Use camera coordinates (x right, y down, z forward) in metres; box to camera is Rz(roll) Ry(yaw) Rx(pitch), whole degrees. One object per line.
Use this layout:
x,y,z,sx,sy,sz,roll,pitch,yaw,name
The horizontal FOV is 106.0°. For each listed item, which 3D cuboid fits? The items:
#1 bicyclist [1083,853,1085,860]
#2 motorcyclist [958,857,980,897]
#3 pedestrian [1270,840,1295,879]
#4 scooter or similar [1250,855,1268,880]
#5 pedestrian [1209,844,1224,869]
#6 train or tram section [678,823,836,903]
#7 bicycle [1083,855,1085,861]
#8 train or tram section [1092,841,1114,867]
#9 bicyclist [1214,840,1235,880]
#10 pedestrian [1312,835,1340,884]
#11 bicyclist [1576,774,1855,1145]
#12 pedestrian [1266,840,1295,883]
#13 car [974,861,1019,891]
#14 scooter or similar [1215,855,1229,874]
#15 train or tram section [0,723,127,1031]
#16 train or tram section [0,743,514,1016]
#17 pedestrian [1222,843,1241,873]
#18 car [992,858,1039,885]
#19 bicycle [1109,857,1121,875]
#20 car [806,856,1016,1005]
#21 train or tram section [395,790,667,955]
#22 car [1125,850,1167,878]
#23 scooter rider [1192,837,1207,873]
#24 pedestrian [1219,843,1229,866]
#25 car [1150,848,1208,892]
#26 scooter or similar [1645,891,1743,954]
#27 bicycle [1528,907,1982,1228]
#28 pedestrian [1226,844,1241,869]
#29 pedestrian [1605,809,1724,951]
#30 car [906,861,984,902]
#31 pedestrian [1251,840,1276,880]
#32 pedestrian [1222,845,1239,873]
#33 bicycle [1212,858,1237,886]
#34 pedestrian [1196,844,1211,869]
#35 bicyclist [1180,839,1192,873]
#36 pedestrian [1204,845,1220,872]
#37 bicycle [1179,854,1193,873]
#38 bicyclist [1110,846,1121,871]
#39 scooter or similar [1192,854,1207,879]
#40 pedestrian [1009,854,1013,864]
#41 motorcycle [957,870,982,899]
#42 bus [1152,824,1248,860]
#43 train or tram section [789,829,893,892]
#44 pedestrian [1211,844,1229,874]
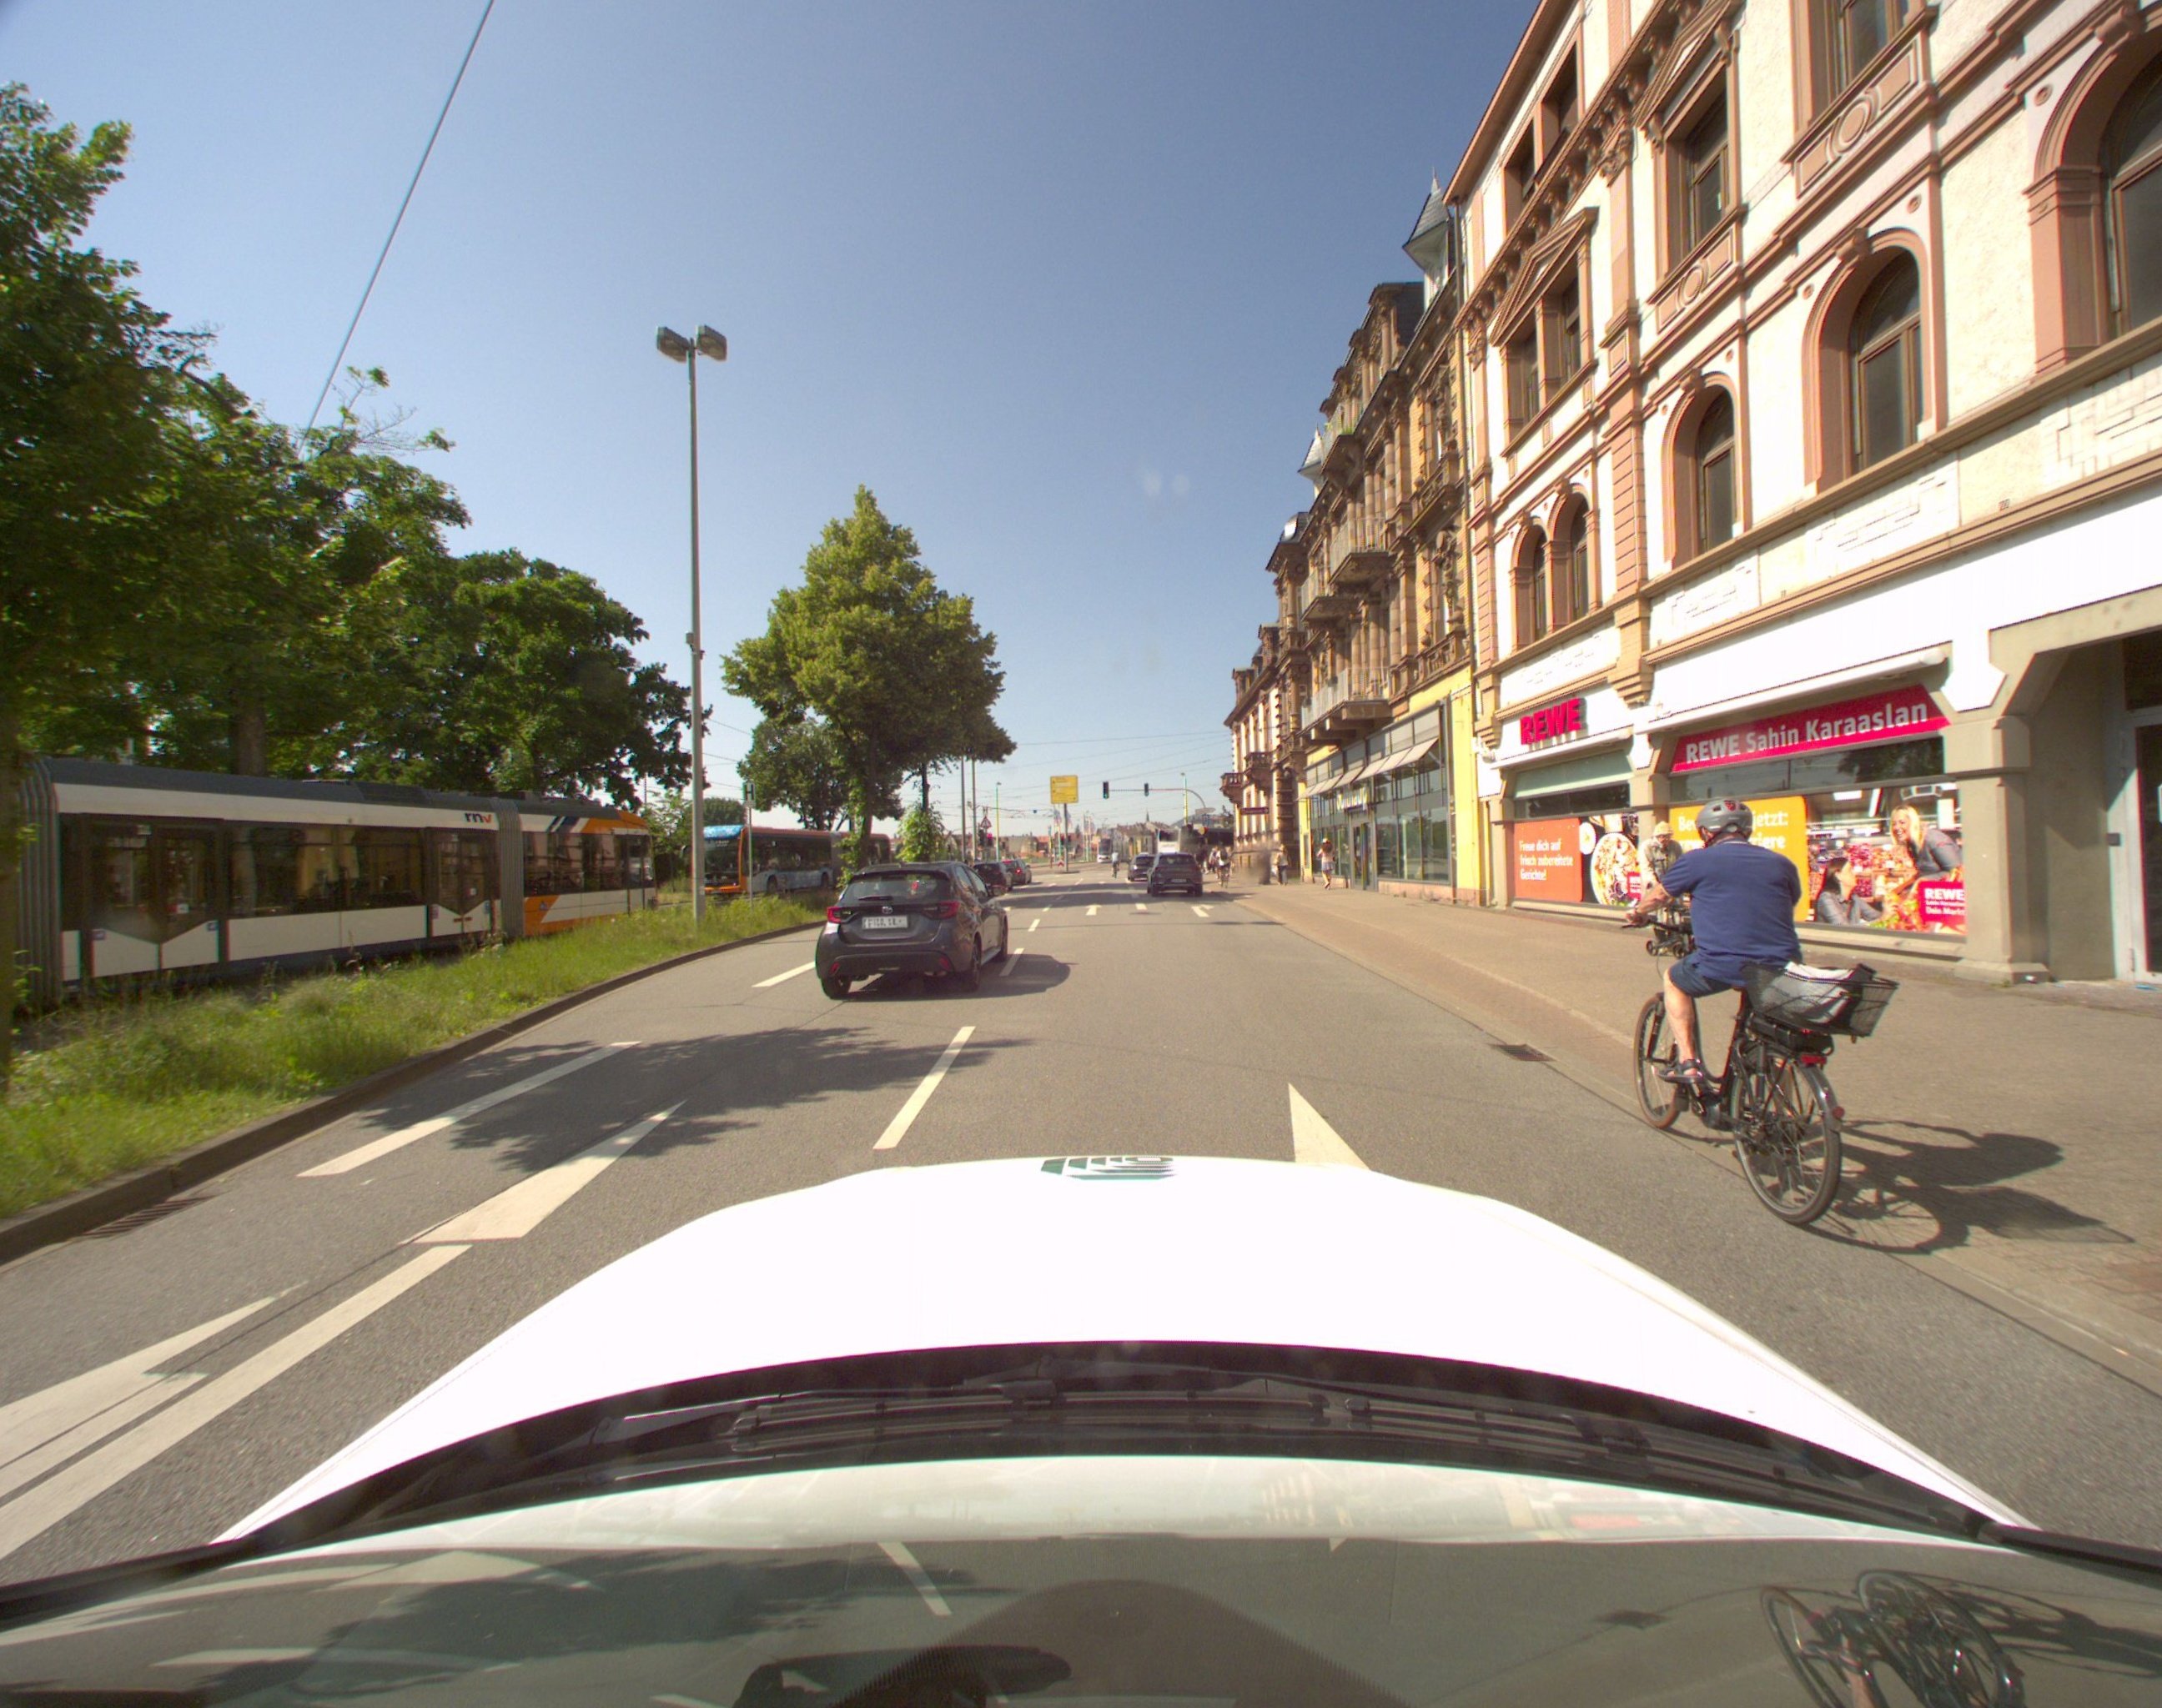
0.640,0.511,181.157,0.556,1.536,0.743,0,-1,1,bicyclist
-4.511,0.944,32.845,0.687,1.555,0.717,-3,-2,-1,motorcyclist
8.605,0.243,34.792,0.859,1.640,0.876,0,-1,1,pedestrian
7.529,0.584,34.441,0.598,1.047,0.799,0,-1,1,scooter or similar
8.922,0.183,53.666,0.859,1.640,0.876,0,-1,1,pedestrian
-15.947,0.379,41.285,2.807,3.581,10.055,0,0,8,train or tram section
0.637,0.897,181.196,0.556,1.125,1.223,0,-1,1,bicycle
3.393,0.023,121.602,2.809,3.777,8.236,0,0,5,train or tram section
5.734,0.250,32.666,0.685,1.577,1.050,0,-1,2,bicyclist
8.338,0.195,27.766,0.652,1.620,0.815,-3,0,1,pedestrian
3.056,0.462,4.031,0.685,1.616,0.919,0,-1,3,bicyclist
7.933,0.275,32.383,0.859,1.640,0.876,-3,1,1,pedestrian
-3.825,0.963,37.400,1.445,1.301,4.004,0,-1,4,car
7.582,0.561,43.850,0.598,1.047,0.799,0,-1,1,scooter or similar
-13.944,0.274,8.051,2.603,3.581,5.360,0,0,2,train or tram section
-13.691,0.316,14.166,2.603,3.581,6.902,0,0,2,train or tram section
8.427,0.209,45.760,0.859,1.640,0.876,-2,0,1,pedestrian
-3.607,0.943,45.544,2.028,1.332,4.004,-3,0,3,car
2.164,0.737,51.486,0.731,1.093,1.898,0,-1,1,bicycle
-1.937,0.821,10.531,1.771,1.475,4.000,-3,-1,0,car
-13.437,0.383,20.630,2.603,3.581,6.021,0,0,2,train or tram section
3.503,0.532,44.590,1.987,1.493,3.999,0,-1,0,car
5.782,0.036,39.737,0.685,1.729,0.779,0,-1,5,scooter rider
10.230,0.062,58.266,0.574,1.640,0.611,0,-1,1,pedestrian
3.495,0.573,29.616,1.865,1.493,4.004,0,-1,3,car
7.338,0.811,9.768,0.688,0.650,0.566,-5,-1,1,scooter or similar
3.064,0.864,4.029,0.731,1.093,1.912,0,-1,3,bicycle
10.140,0.193,54.235,0.859,1.640,0.876,0,-1,1,pedestrian
7.301,0.321,10.236,0.753,1.656,0.837,-5,-1,1,pedestrian
-4.628,0.914,28.350,1.808,1.332,4.004,0,-1,3,car
7.557,0.260,33.818,0.859,1.640,0.876,0,-1,1,pedestrian
8.945,0.289,48.640,0.859,1.640,0.876,0,-1,1,pedestrian
5.734,0.713,32.612,0.731,1.093,1.899,0,-1,2,bicycle
7.994,0.178,53.305,0.859,1.640,0.876,0,-1,1,pedestrian
6.185,0.113,48.103,0.685,1.962,0.779,0,-1,5,bicyclist
7.915,0.291,49.310,0.859,1.640,0.876,0,-1,1,pedestrian
6.207,0.565,48.237,0.730,1.093,1.900,0,-1,5,bicycle
2.187,0.284,51.405,0.686,1.577,1.049,0,-1,1,bicyclist
5.763,0.600,39.692,0.685,1.167,1.466,0,-1,5,scooter or similar
-9.875,0.726,114.591,0.556,1.416,0.636,0,-1,1,pedestrian
-4.483,1.215,32.845,0.696,1.064,1.909,-4,0,0,motorcycle
9.746,-0.871,66.147,8.688,2.776,2.943,1,-1,-43,bus
-14.580,0.331,50.362,2.805,3.581,8.248,0,0,10,train or tram section
7.594,0.261,44.560,0.859,1.640,0.876,0,-1,1,pedestrian
